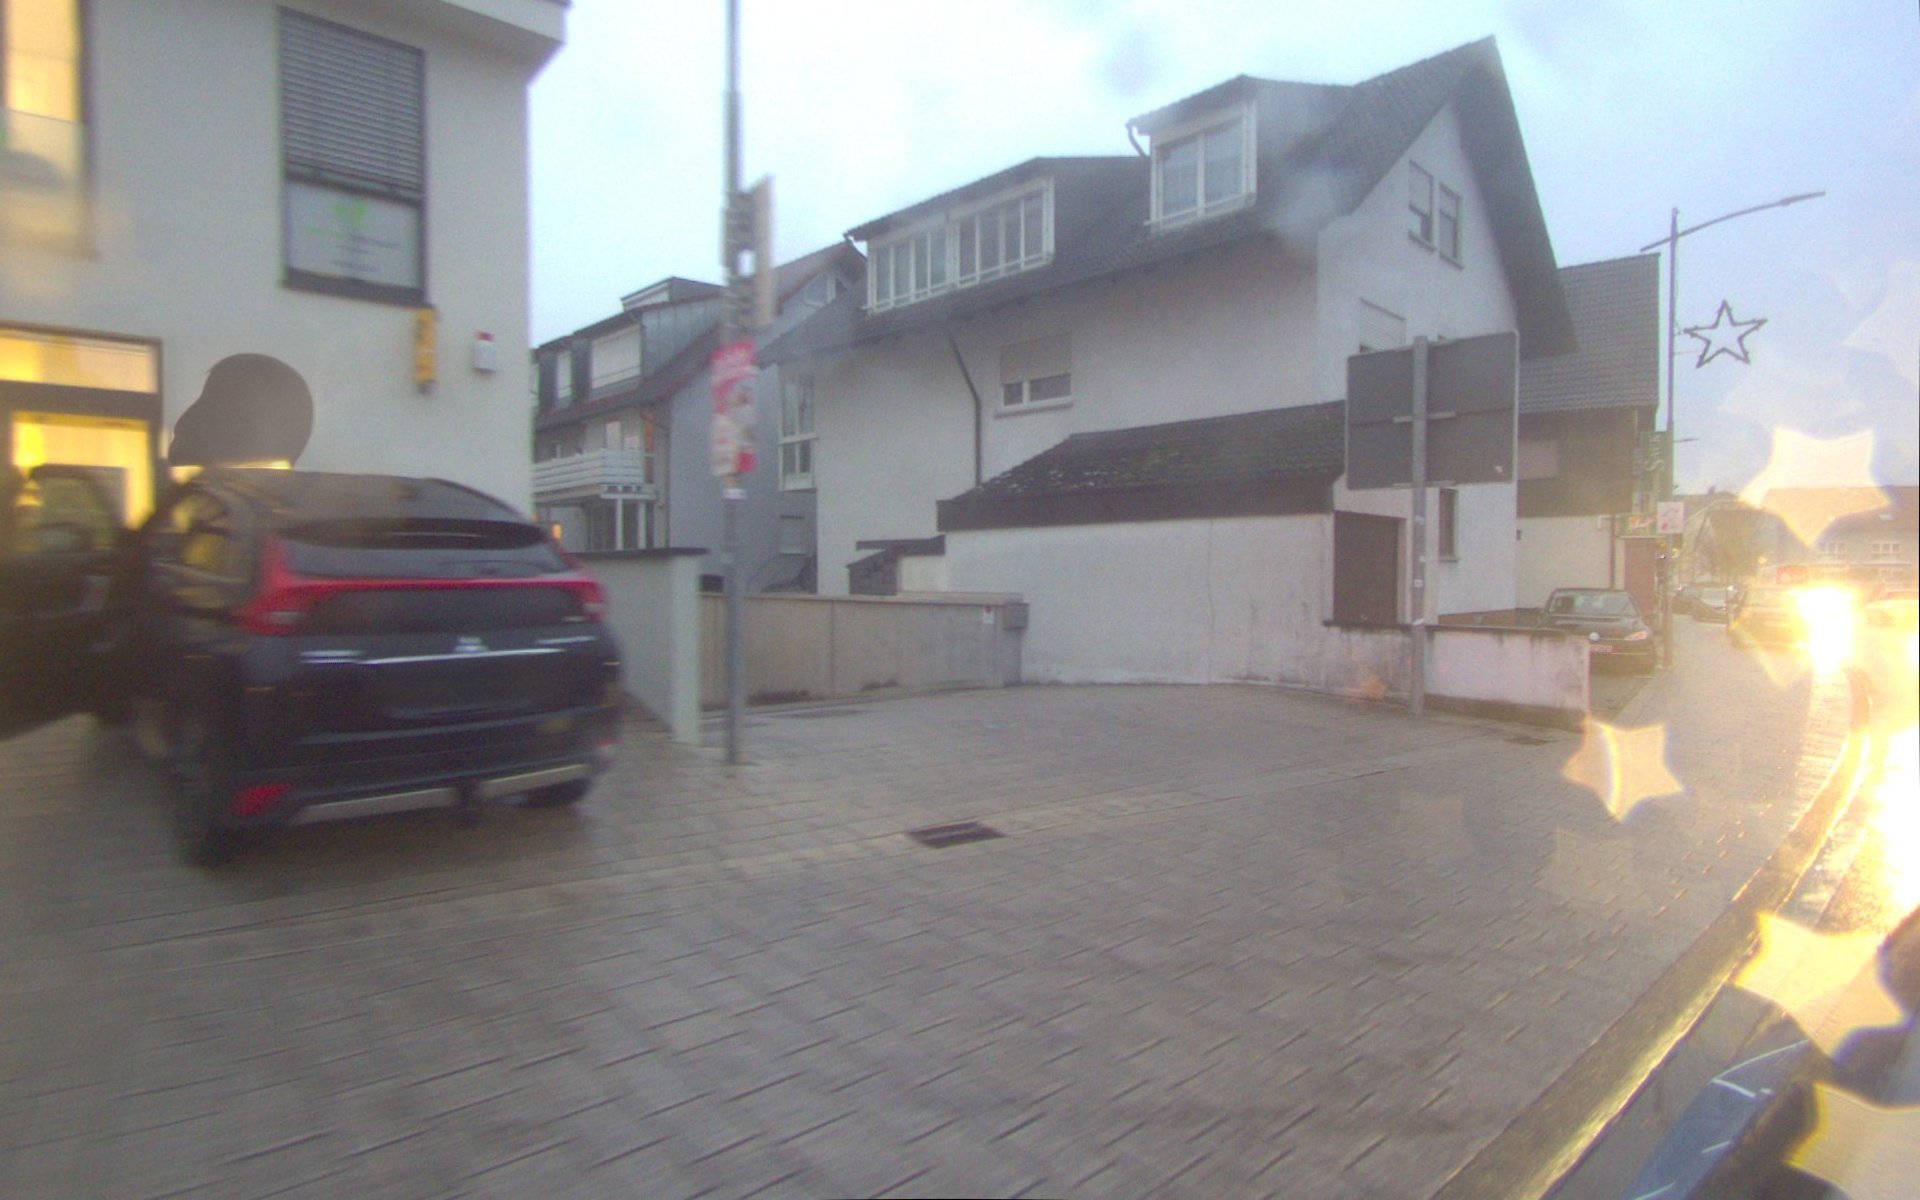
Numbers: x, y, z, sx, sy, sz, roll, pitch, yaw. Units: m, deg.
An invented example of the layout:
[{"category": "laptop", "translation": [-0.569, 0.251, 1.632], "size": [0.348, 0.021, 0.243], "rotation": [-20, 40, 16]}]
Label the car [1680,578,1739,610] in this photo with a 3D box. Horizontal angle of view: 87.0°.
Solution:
[{"category": "car", "translation": [40.330, -0.349, 54.583], "size": [1.946, 1.552, 4.956], "rotation": [-2, 0, 30]}]

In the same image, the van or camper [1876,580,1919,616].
[{"category": "van or camper", "translation": [38.136, -0.087, 40.686], "size": [1.558, 1.372, 3.378], "rotation": [2, 2, 36]}]

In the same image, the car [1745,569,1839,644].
[{"category": "car", "translation": [22.684, 0.122, 27.636], "size": [1.768, 1.803, 3.943], "rotation": [5, 4, 39]}]

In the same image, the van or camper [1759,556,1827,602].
[{"category": "van or camper", "translation": [51.951, -1.300, 63.243], "size": [2.230, 2.702, 6.484], "rotation": [2, 2, 31]}]

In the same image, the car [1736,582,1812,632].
[{"category": "car", "translation": [25.957, 0.201, 32.353], "size": [1.641, 1.433, 2.693], "rotation": [4, 3, 35]}]

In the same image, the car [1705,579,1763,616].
[{"category": "car", "translation": [34.795, -0.151, 45.582], "size": [1.646, 1.472, 4.190], "rotation": [4, 3, 32]}]

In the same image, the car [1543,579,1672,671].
[{"category": "car", "translation": [11.758, 0.367, 18.575], "size": [1.757, 1.410, 3.873], "rotation": [3, 3, 30]}]

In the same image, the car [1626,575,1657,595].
[{"category": "car", "translation": [57.084, -1.291, 84.823], "size": [1.797, 1.583, 4.261], "rotation": [1, 2, 29]}]

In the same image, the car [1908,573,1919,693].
[{"category": "car", "translation": [14.286, 0.546, 13.619], "size": [1.900, 1.659, 4.501], "rotation": [5, 5, 40]}]

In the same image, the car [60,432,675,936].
[{"category": "car", "translation": [-3.520, 0.069, 5.582], "size": [4.180, 1.657, 1.776], "rotation": [11, 7, 43]}]

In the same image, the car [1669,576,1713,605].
[{"category": "car", "translation": [43.646, -0.590, 60.513], "size": [1.656, 1.595, 4.450], "rotation": [1, 2, 30]}]
